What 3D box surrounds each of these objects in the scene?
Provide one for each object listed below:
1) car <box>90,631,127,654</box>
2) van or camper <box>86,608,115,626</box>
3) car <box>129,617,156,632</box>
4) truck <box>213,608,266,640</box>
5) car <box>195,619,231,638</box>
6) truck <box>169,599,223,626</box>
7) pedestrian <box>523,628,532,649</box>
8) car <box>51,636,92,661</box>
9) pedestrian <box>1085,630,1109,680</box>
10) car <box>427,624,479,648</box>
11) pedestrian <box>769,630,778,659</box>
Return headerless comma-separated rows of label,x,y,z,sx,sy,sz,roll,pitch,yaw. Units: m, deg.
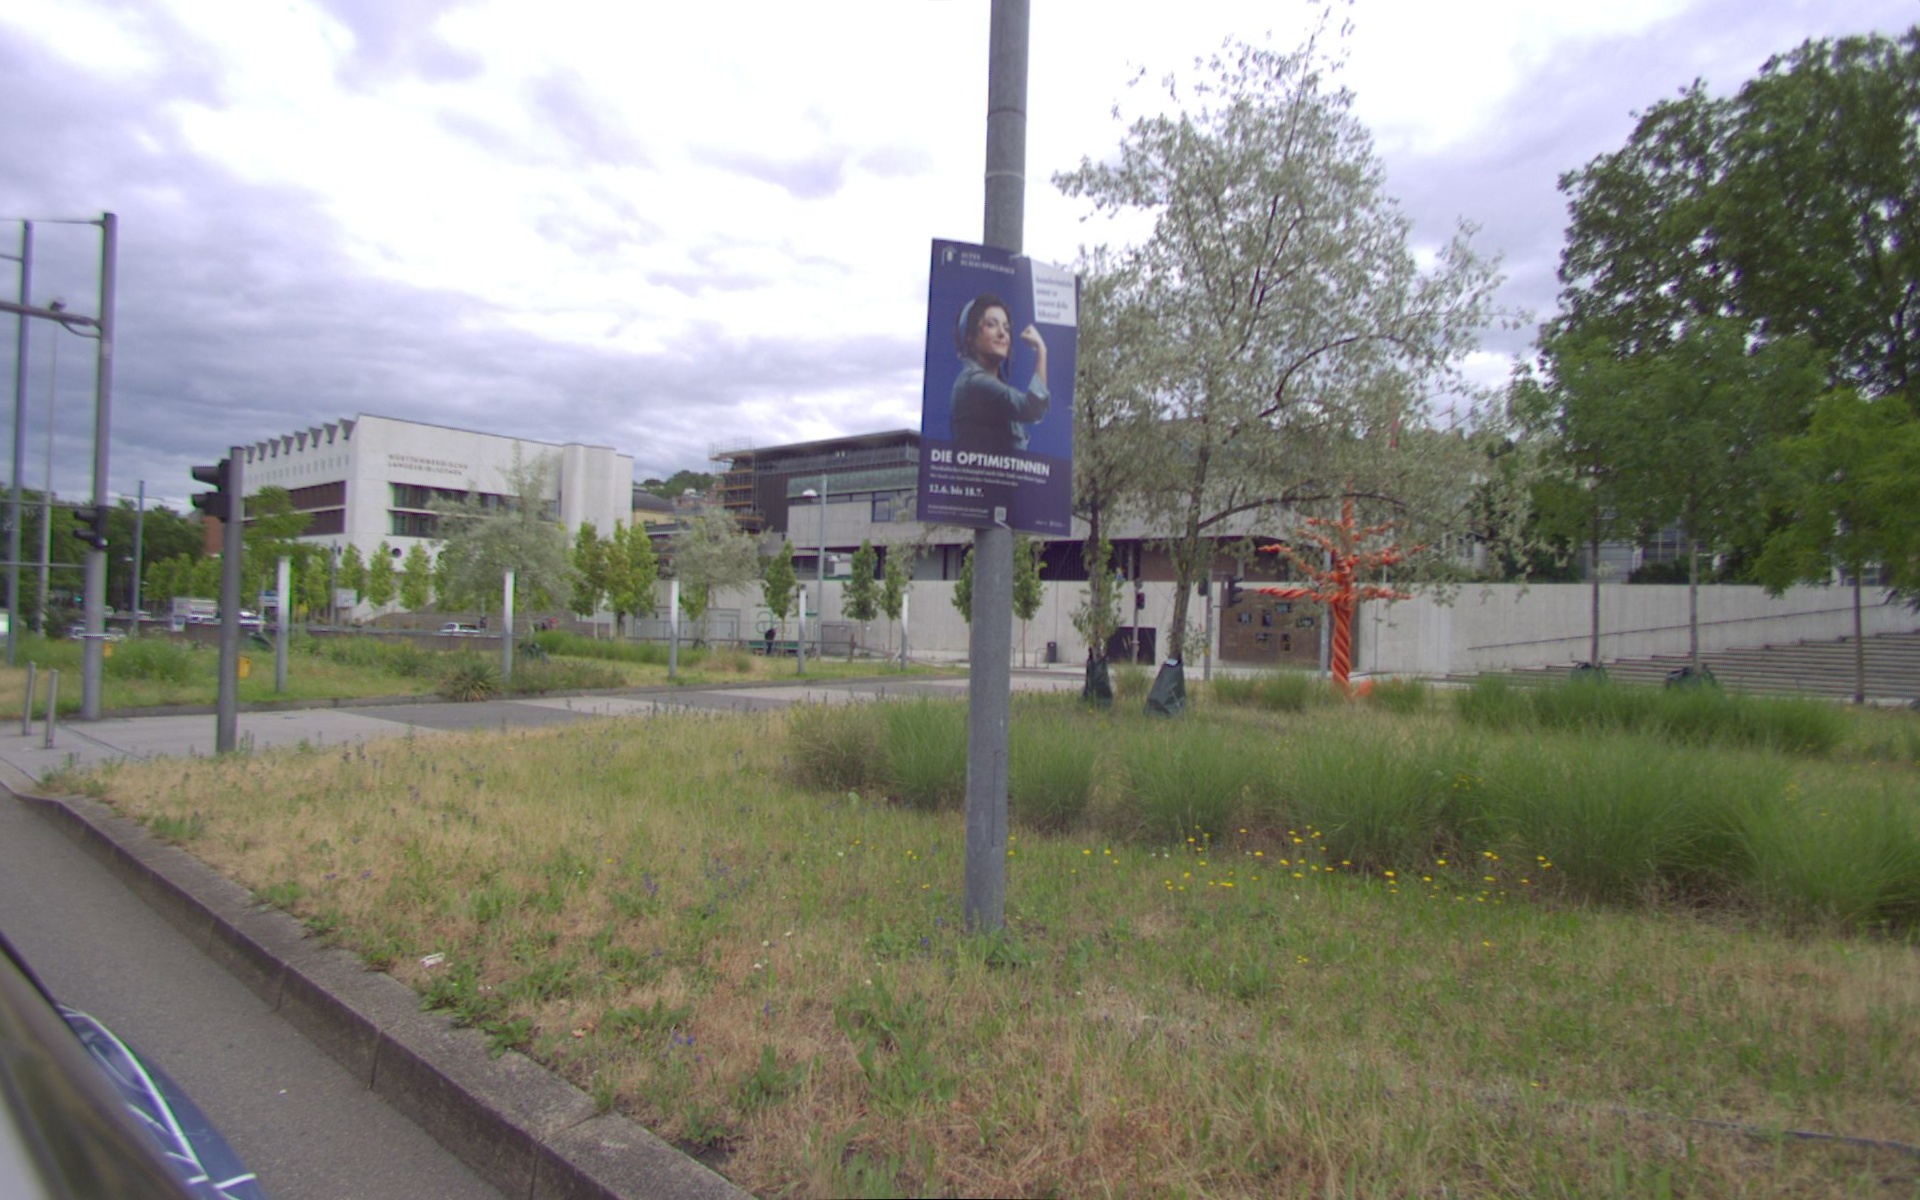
car,-79.602,3.946,94.595,3.997,2.029,1.973,-1,-5,41
van or camper,-102.817,2.043,121.043,4.554,2.029,1.973,-2,-2,41
car,-89.772,2.678,111.096,4.269,1.586,1.700,-2,-2,42
truck,-65.401,2.185,91.773,7.076,2.838,2.437,-2,-2,42
car,-73.520,2.805,99.551,4.255,1.830,1.973,-2,-2,41
truck,-84.022,1.445,111.262,7.247,2.809,3.198,-2,-2,40
pedestrian,-30.980,2.756,72.564,0.460,1.533,0.424,-1,-1,34
car,-77.030,4.201,87.714,4.330,2.029,1.973,-1,-5,41
pedestrian,4.949,1.975,36.449,0.663,1.747,0.534,-2,-2,41
car,-35.348,2.514,70.509,4.611,1.586,1.700,-2,-2,42
pedestrian,-10.018,2.383,54.422,0.316,1.533,0.314,-1,-1,34
